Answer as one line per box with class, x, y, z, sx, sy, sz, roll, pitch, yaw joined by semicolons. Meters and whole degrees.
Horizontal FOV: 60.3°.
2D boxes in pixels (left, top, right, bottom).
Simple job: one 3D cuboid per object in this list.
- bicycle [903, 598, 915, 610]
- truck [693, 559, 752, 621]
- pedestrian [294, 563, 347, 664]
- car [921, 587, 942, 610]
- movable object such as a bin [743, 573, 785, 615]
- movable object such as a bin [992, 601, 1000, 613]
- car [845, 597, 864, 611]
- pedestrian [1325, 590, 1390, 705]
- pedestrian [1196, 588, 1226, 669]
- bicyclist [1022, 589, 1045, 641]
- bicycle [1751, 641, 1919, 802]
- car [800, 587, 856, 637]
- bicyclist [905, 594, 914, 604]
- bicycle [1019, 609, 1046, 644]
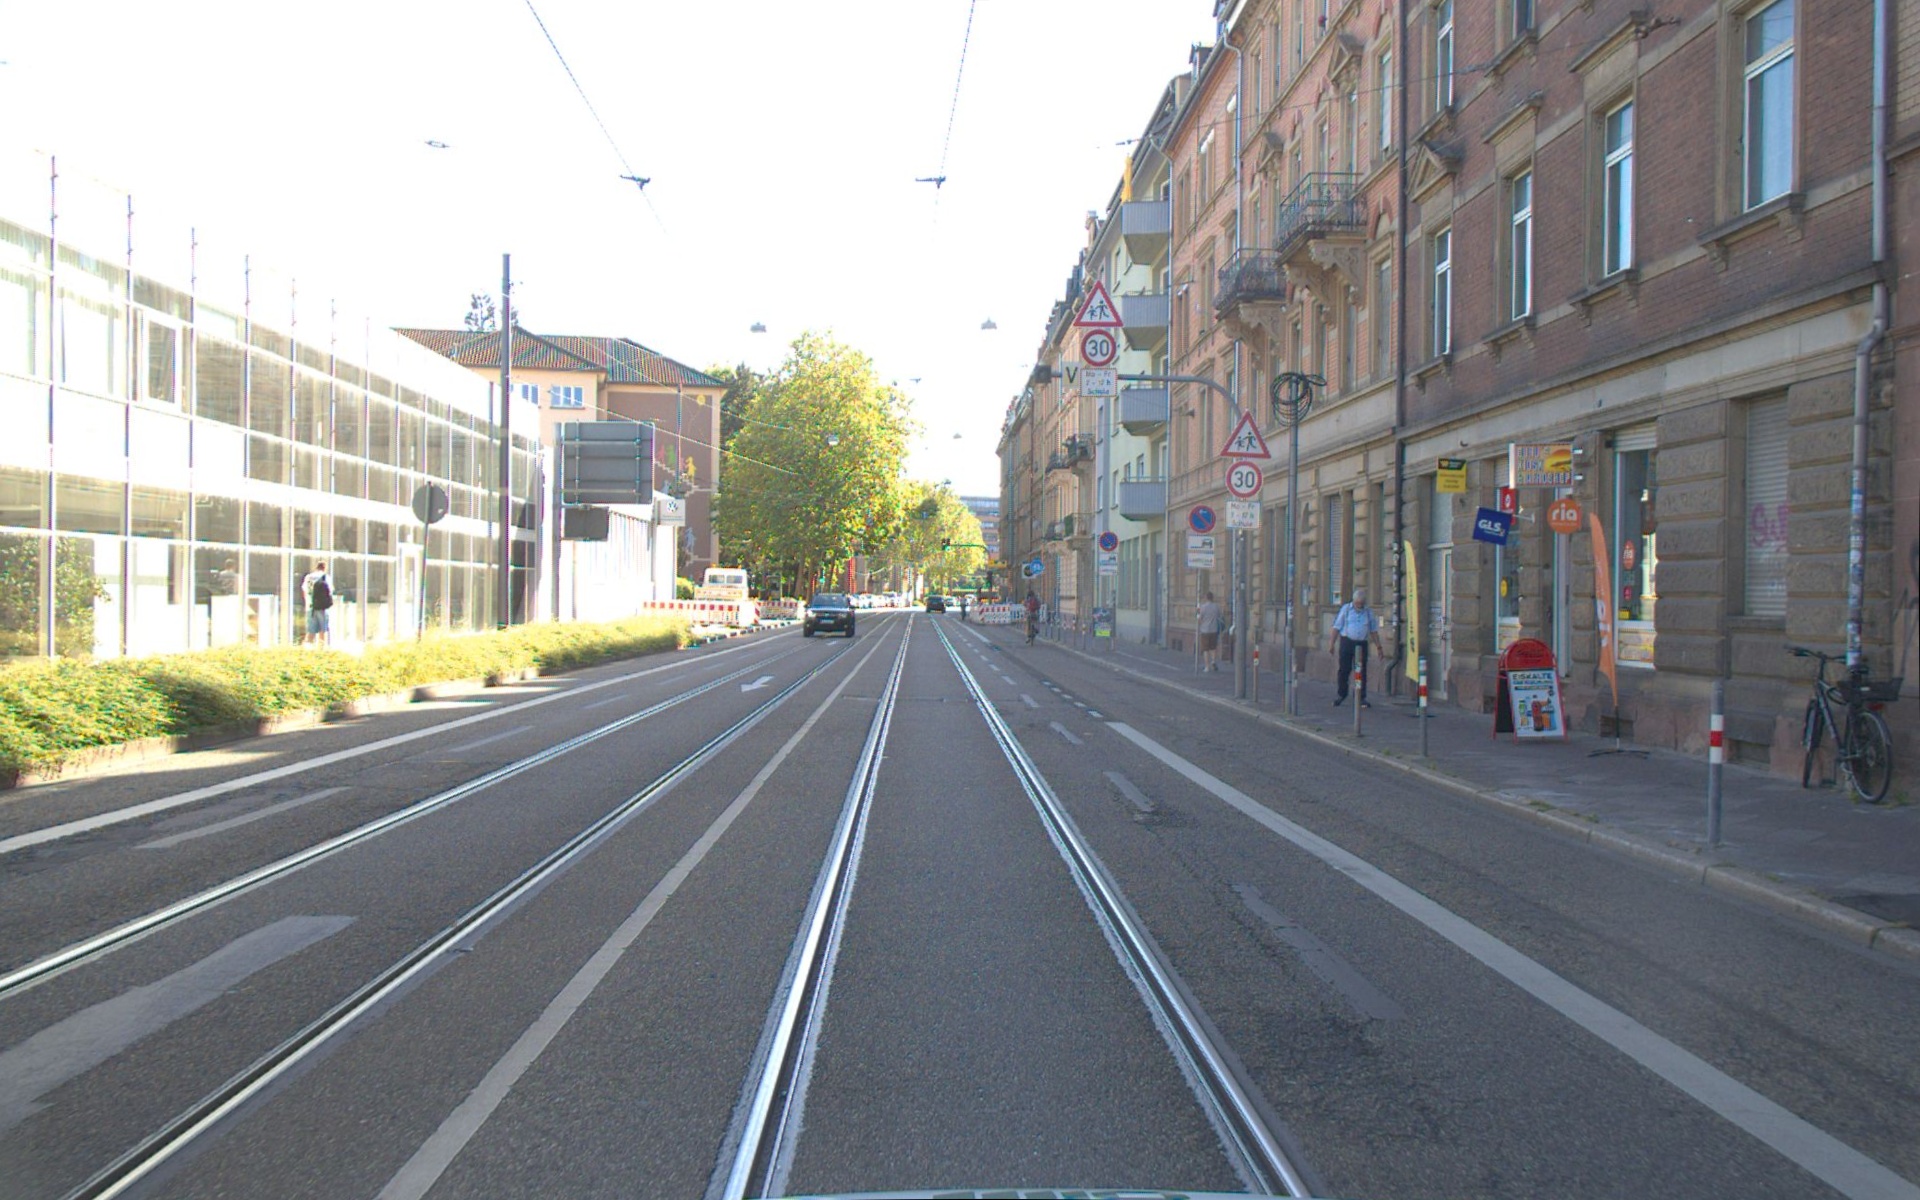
bicycle;-7.314;0.570;238.151;1.208;1.600;2.899;2;-1;6
truck;-11.897;-0.461;83.182;2.489;2.879;6.369;2;-1;-5
pedestrian;-11.697;0.243;30.265;0.516;1.795;1.050;2;-1;-2
car;-2.789;-0.131;161.473;1.953;2.049;3.999;2;-1;-1
movable object such as a bin;-13.516;-0.407;114.261;2.446;2.691;5.984;2;0;-4
movable object such as a bin;3.149;0.626;143.749;0.660;1.054;0.813;1;1;-1
car;-11.948;0.449;187.086;1.712;1.521;4.044;2;-1;1
pedestrian;5.747;0.680;23.924;0.781;1.633;0.652;1;-1;0
pedestrian;5.392;0.609;35.565;0.541;1.730;0.474;-1;-1;3
bicyclist;2.519;0.523;56.711;0.653;1.726;1.042;2;-1;-2
bicycle;6.837;0.910;12.986;0.401;1.141;1.898;-1;-1;3
car;-4.898;0.443;61.783;1.723;1.726;4.143;2;-1;0
bicyclist;-7.306;-0.118;238.129;1.054;1.452;1.147;2;-1;7
bicycle;2.489;0.899;56.869;0.667;1.134;2.706;2;0;-2
